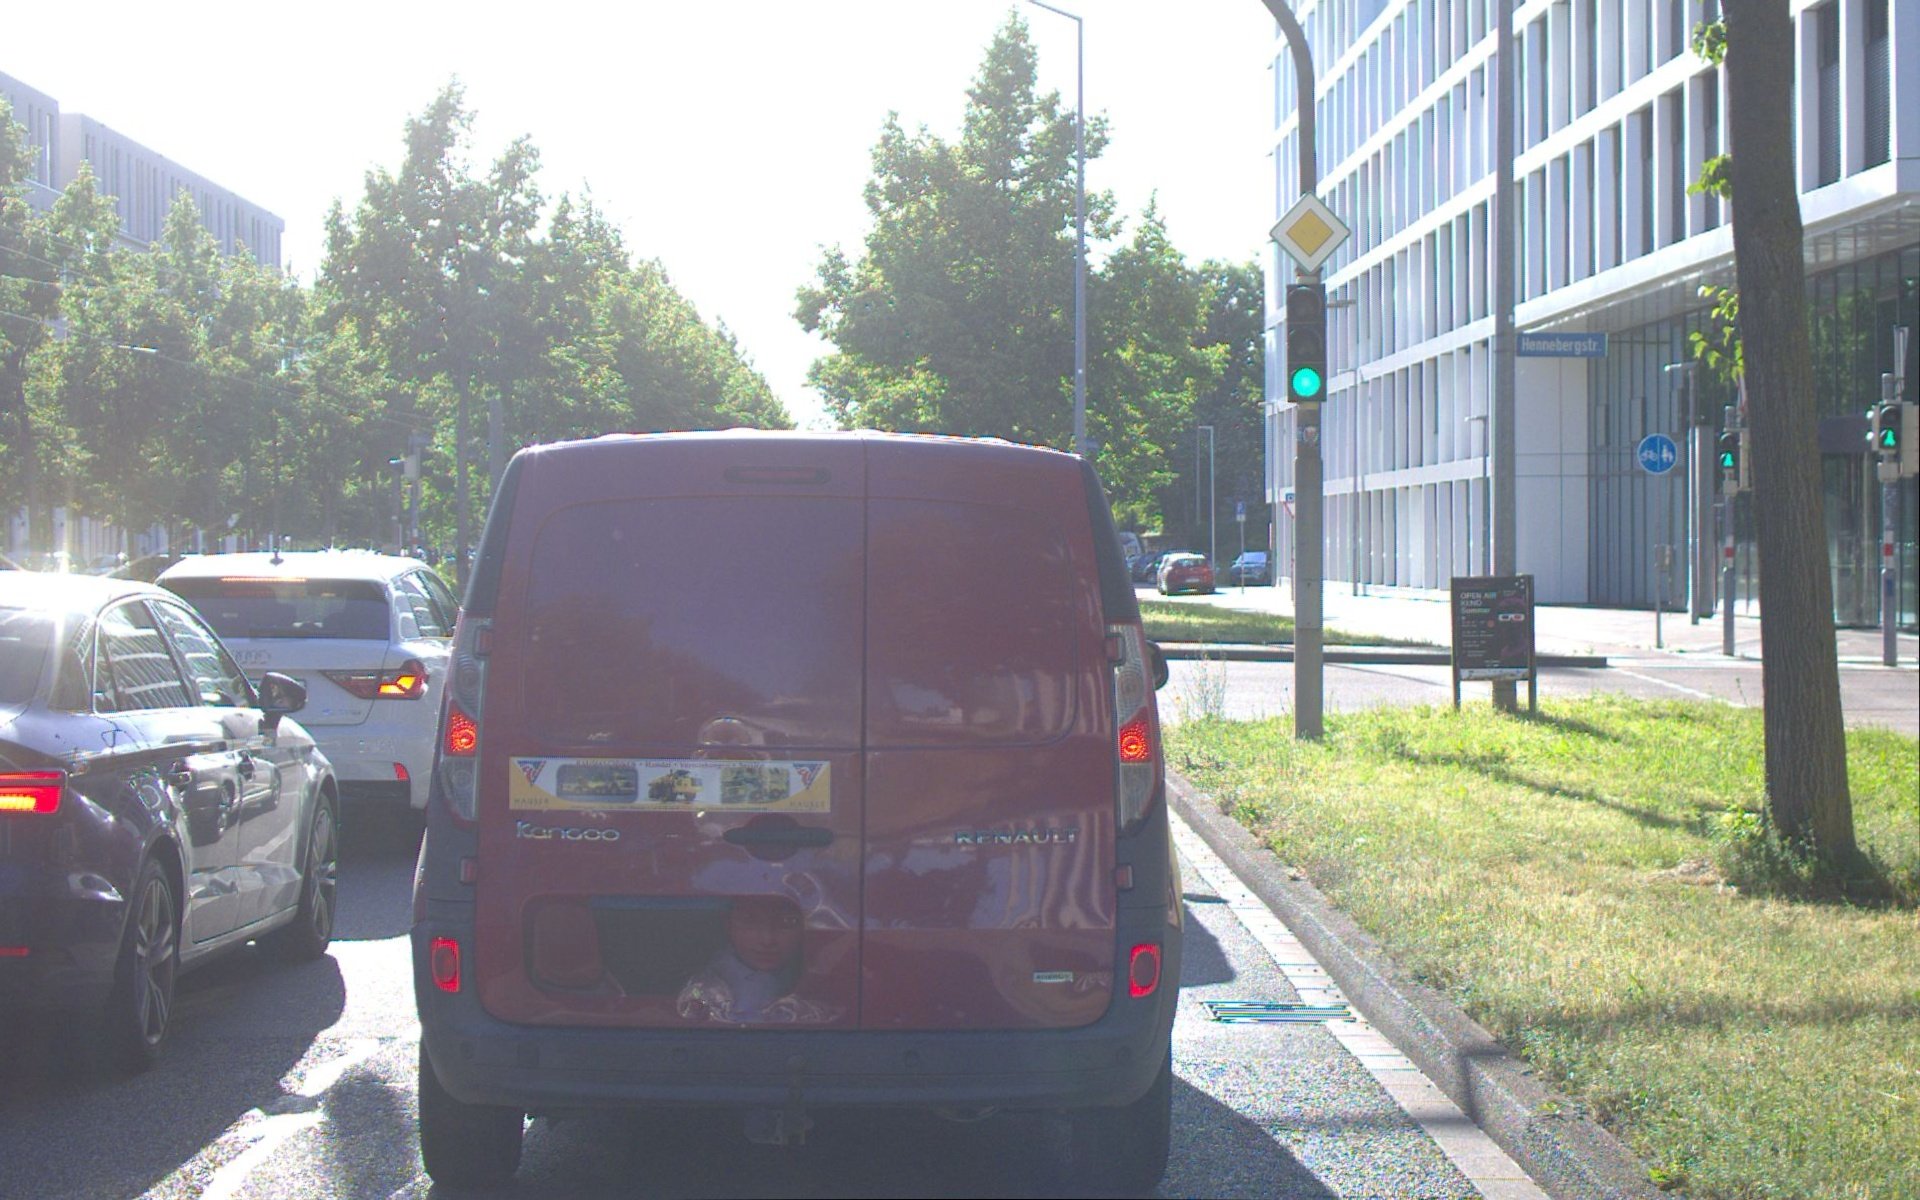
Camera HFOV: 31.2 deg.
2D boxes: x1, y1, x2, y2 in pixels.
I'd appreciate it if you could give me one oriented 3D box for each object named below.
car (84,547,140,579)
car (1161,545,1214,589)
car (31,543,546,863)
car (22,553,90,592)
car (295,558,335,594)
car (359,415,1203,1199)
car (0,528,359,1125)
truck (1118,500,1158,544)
[{"bbox_3d":[-36.886,-1.614,149.571,1.580,1.337,3.712,0,1,-1],"label":"car"},{"bbox_3d":[8.459,-1.251,127.869,1.758,1.606,3.903,0,1,1],"label":"car"},{"bbox_3d":[-3.265,0.428,17.508,1.808,1.430,4.113,0,1,0],"label":"car"},{"bbox_3d":[-35.880,-1.087,136.546,1.776,1.523,3.806,0,1,-1],"label":"car"},{"bbox_3d":[-37.246,-1.411,198.601,1.728,2.007,4.001,0,1,-3],"label":"car"},{"bbox_3d":[-0.379,0.460,9.429,1.808,1.788,4.113,0,1,0],"label":"car"},{"bbox_3d":[-3.159,0.540,10.819,1.808,1.522,4.113,0,1,0],"label":"car"},{"bbox_3d":[10.287,-4.483,198.903,1.831,2.492,5.933,0,1,-1],"label":"truck"}]
